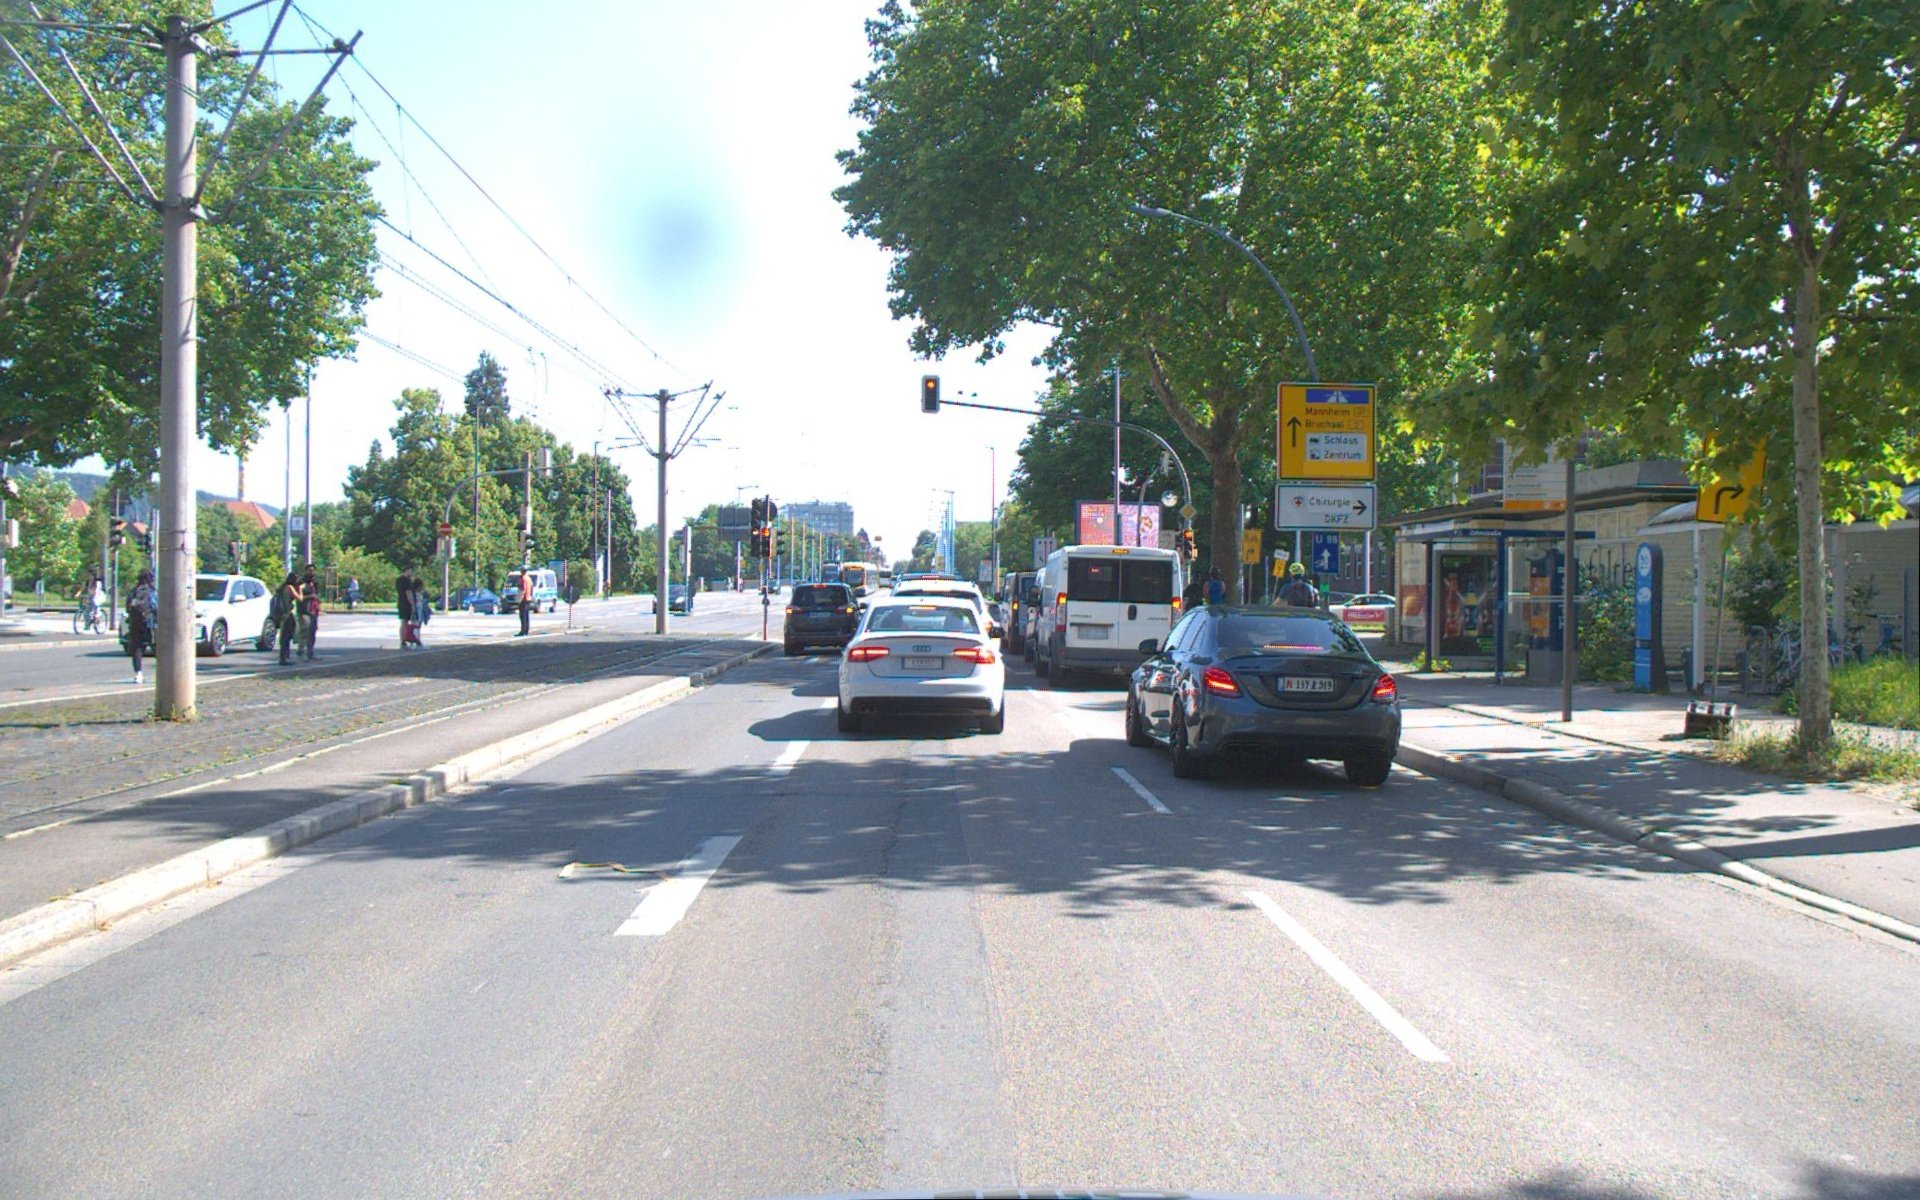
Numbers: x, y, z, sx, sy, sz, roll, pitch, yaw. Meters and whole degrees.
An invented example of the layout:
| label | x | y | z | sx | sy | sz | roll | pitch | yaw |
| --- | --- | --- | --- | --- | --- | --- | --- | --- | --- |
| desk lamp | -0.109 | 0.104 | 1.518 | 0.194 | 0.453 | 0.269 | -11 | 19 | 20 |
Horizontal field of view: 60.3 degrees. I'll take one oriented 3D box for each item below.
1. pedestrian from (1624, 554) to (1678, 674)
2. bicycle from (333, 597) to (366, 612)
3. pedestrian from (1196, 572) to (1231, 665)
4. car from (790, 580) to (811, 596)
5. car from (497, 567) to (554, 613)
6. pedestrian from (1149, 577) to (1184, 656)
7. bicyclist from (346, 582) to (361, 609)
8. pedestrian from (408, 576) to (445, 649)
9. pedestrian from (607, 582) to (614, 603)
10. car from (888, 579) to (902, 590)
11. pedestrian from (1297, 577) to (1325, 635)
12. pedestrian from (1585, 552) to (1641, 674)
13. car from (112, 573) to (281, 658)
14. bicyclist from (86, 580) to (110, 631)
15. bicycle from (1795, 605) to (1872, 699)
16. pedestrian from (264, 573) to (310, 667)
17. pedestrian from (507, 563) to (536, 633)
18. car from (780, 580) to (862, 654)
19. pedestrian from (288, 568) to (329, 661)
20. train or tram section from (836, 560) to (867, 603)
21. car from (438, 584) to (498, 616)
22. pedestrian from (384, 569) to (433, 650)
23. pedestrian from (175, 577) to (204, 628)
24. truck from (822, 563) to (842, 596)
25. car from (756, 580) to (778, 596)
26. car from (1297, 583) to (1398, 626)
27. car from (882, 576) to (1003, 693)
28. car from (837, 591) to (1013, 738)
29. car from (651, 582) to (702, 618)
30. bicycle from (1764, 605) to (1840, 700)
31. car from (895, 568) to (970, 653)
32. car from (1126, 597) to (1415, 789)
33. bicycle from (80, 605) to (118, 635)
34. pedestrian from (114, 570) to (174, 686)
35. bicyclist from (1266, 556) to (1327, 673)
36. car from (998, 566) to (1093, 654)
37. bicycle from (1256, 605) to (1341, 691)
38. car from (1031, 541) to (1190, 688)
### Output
| label | x | y | z | sx | sy | sz | roll | pitch | yaw |
| --- | --- | --- | --- | --- | --- | --- | --- | --- | --- |
| pedestrian | 11.220 | 0.224 | 26.859 | 0.601 | 1.929 | 0.597 | 0 | 0 | -4 |
| bicycle | -30.002 | 0.219 | 81.307 | 0.482 | 0.744 | 1.619 | 1 | 0 | 27 |
| pedestrian | 5.484 | 0.398 | 35.791 | 0.622 | 1.980 | 0.719 | 1 | 0 | -1 |
| car | -16.691 | -1.231 | 173.087 | 1.954 | 1.670 | 3.998 | 1 | 0 | -3 |
| car | -23.578 | -0.541 | 89.984 | 2.071 | 2.424 | 3.999 | 1 | 0 | -1 |
| pedestrian | 4.631 | 0.366 | 37.142 | 0.590 | 1.724 | 0.953 | -2 | 0 | -1 |
| bicyclist | -29.882 | -0.214 | 81.525 | 0.464 | 1.314 | 0.496 | 1 | 0 | 27 |
| pedestrian | -12.006 | 0.276 | 37.234 | 0.526 | 1.626 | 0.578 | 1 | 0 | 18 |
| pedestrian | -26.782 | -0.583 | 126.896 | 0.412 | 1.576 | 0.552 | 1 | 0 | -1 |
| car | -9.701 | -2.302 | 247.655 | 1.832 | 1.637 | 4.001 | 1 | 0 | 1 |
| pedestrian | 11.087 | 0.193 | 52.269 | 0.761 | 1.819 | 0.764 | 1 | 0 | 2 |
| pedestrian | 10.533 | 0.205 | 26.704 | 0.601 | 1.929 | 0.694 | 0 | 0 | -4 |
| car | -15.687 | 0.285 | 34.198 | 1.728 | 1.637 | 3.859 | 1 | 0 | -1 |
| bicyclist | -22.768 | 0.144 | 43.669 | 0.377 | 1.334 | 0.465 | 1 | 0 | -1 |
| bicycle | 11.613 | 0.680 | 22.023 | 0.381 | 1.201 | 1.173 | 1 | 0 | -1 |
| pedestrian | -12.062 | 0.354 | 29.638 | 0.581 | 1.675 | 0.554 | 1 | 0 | -1 |
| pedestrian | -12.366 | -0.053 | 46.649 | 0.611 | 1.951 | 0.689 | 1 | 0 | -1 |
| car | -3.280 | 0.375 | 39.704 | 1.694 | 1.659 | 3.999 | 1 | 0 | -1 |
| pedestrian | -12.063 | 0.262 | 30.645 | 0.482 | 1.708 | 0.643 | 1 | 0 | -1 |
| train or tram section | -10.512 | -1.799 | 160.840 | 2.563 | 4.085 | 7.748 | 1 | 0 | -1 |
| car | -24.392 | -0.010 | 82.102 | 1.792 | 1.546 | 3.945 | 1 | 0 | -1 |
| pedestrian | -12.179 | 0.211 | 36.519 | 0.758 | 1.764 | 0.755 | 1 | 0 | 7 |
| pedestrian | -23.846 | 0.071 | 51.202 | 0.610 | 1.569 | 0.644 | 1 | 0 | -2 |
| truck | -13.420 | -2.098 | 173.449 | 1.954 | 3.383 | 6.017 | 0 | 0 | -3 |
| car | -19.929 | -1.222 | 170.904 | 1.954 | 1.670 | 3.998 | 1 | 0 | -3 |
| car | 15.875 | 0.187 | 67.885 | 3.700 | 1.701 | 1.793 | 1 | 0 | -1 |
| car | -0.286 | 0.476 | 25.343 | 1.694 | 1.633 | 3.884 | 1 | 0 | -1 |
| car | -0.390 | 0.640 | 18.545 | 1.748 | 1.445 | 3.884 | 1 | 0 | -1 |
| car | -14.420 | -0.014 | 84.355 | 1.953 | 1.764 | 3.999 | 1 | 0 | -1 |
| bicycle | 11.162 | 0.679 | 21.954 | 0.381 | 1.201 | 1.173 | 1 | 0 | -1 |
| car | -0.673 | 0.232 | 39.966 | 1.694 | 1.935 | 3.999 | 1 | 0 | -1 |
| car | 2.608 | 0.715 | 14.804 | 1.746 | 1.445 | 3.999 | 1 | 0 | -1 |
| bicycle | -22.777 | 0.523 | 43.753 | 0.412 | 0.761 | 1.146 | 1 | 0 | -1 |
| pedestrian | -11.798 | 0.399 | 23.929 | 0.748 | 1.651 | 0.589 | 1 | 0 | -27 |
| bicyclist | 4.997 | 0.205 | 24.573 | 0.621 | 1.677 | 0.979 | -2 | 0 | -2 |
| car | 2.066 | 0.225 | 40.936 | 2.030 | 2.034 | 4.057 | 1 | 0 | -1 |
| bicycle | 5.020 | 0.688 | 24.668 | 0.700 | 1.168 | 2.177 | -2 | 1 | -2 |
| car | 2.421 | 0.211 | 27.720 | 2.185 | 2.250 | 4.161 | 1 | 0 | -1 |
